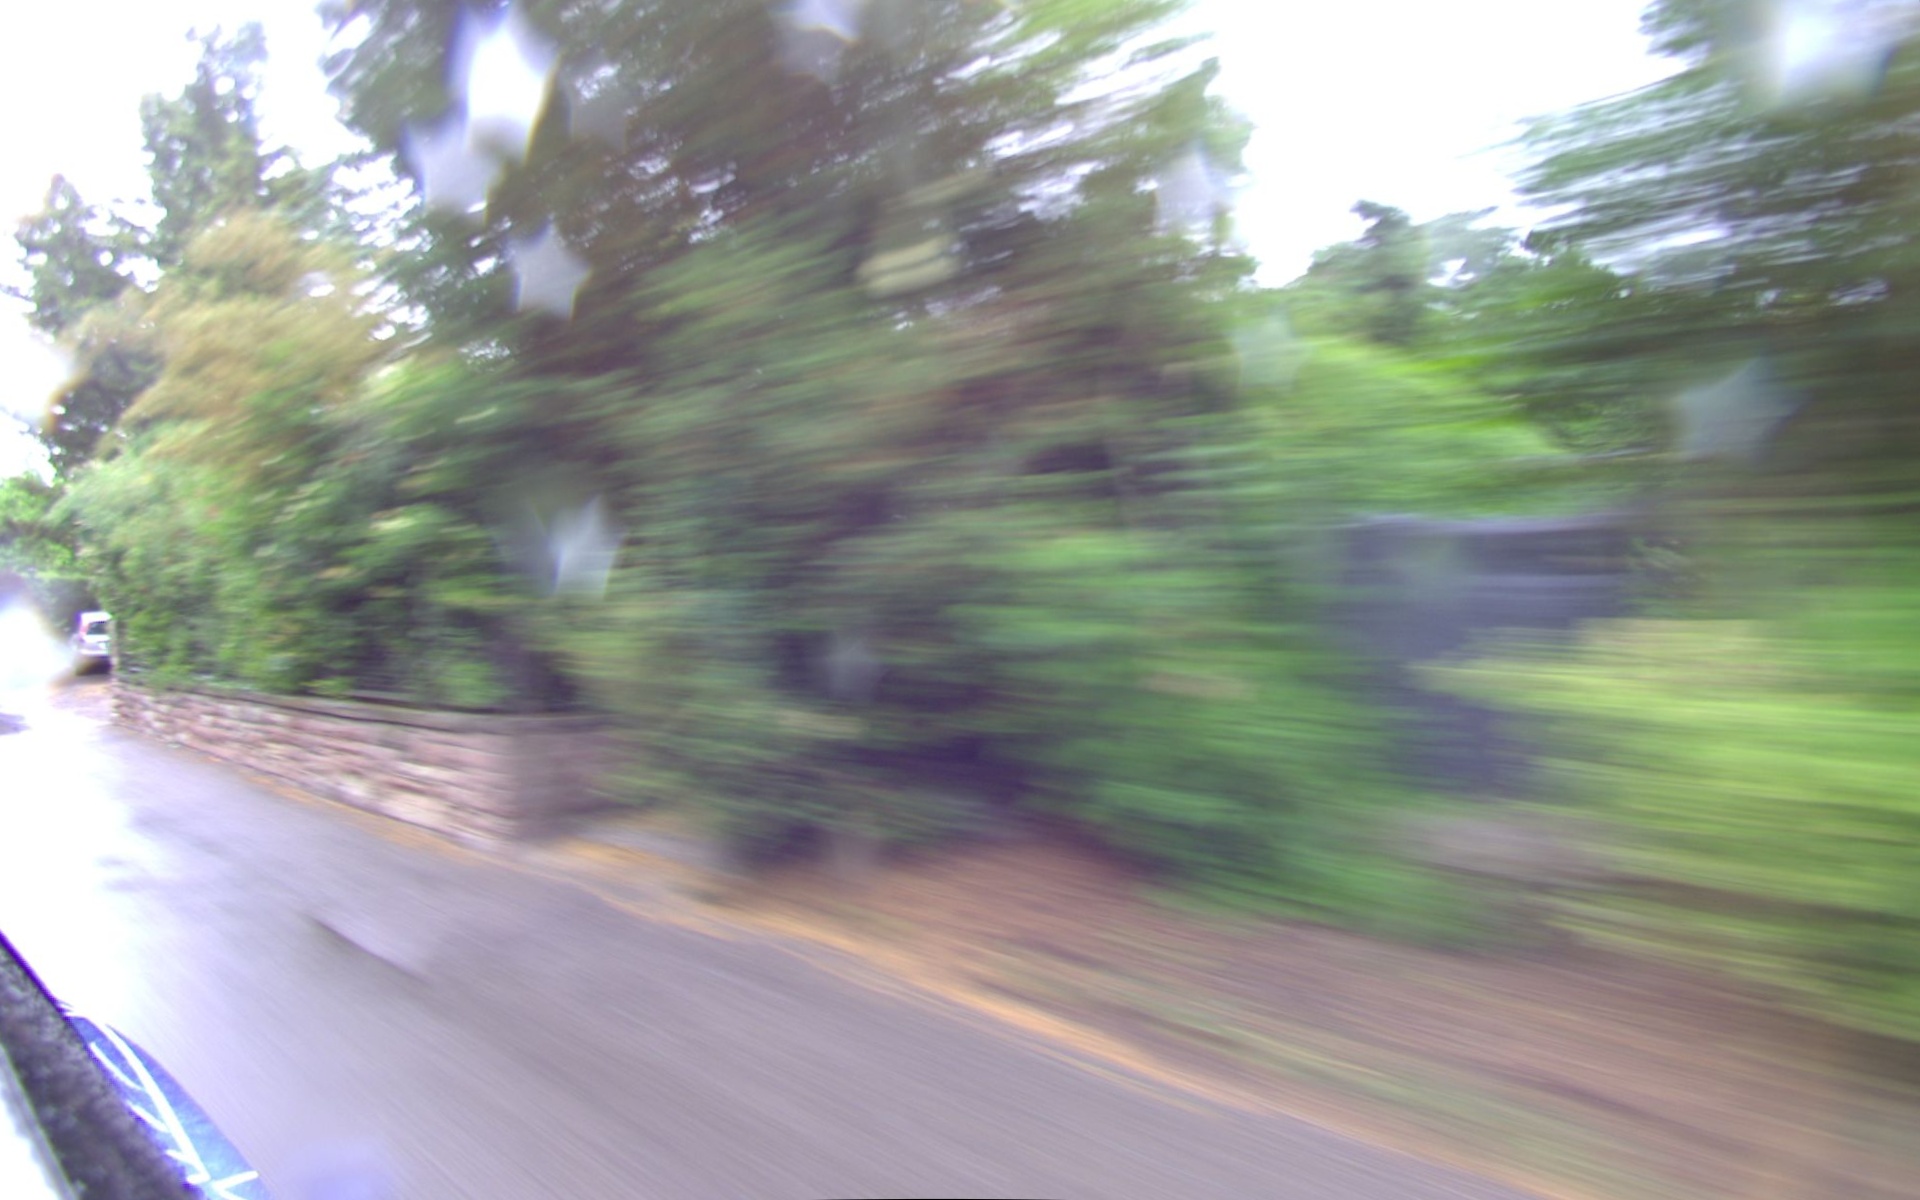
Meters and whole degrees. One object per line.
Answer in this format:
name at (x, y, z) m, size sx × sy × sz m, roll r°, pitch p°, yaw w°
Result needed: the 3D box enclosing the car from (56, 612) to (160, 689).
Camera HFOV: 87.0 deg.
car at (-21.844, 1.220, 25.903) m, size 1.763 × 1.537 × 3.660 m, roll -4°, pitch 5°, yaw -43°
